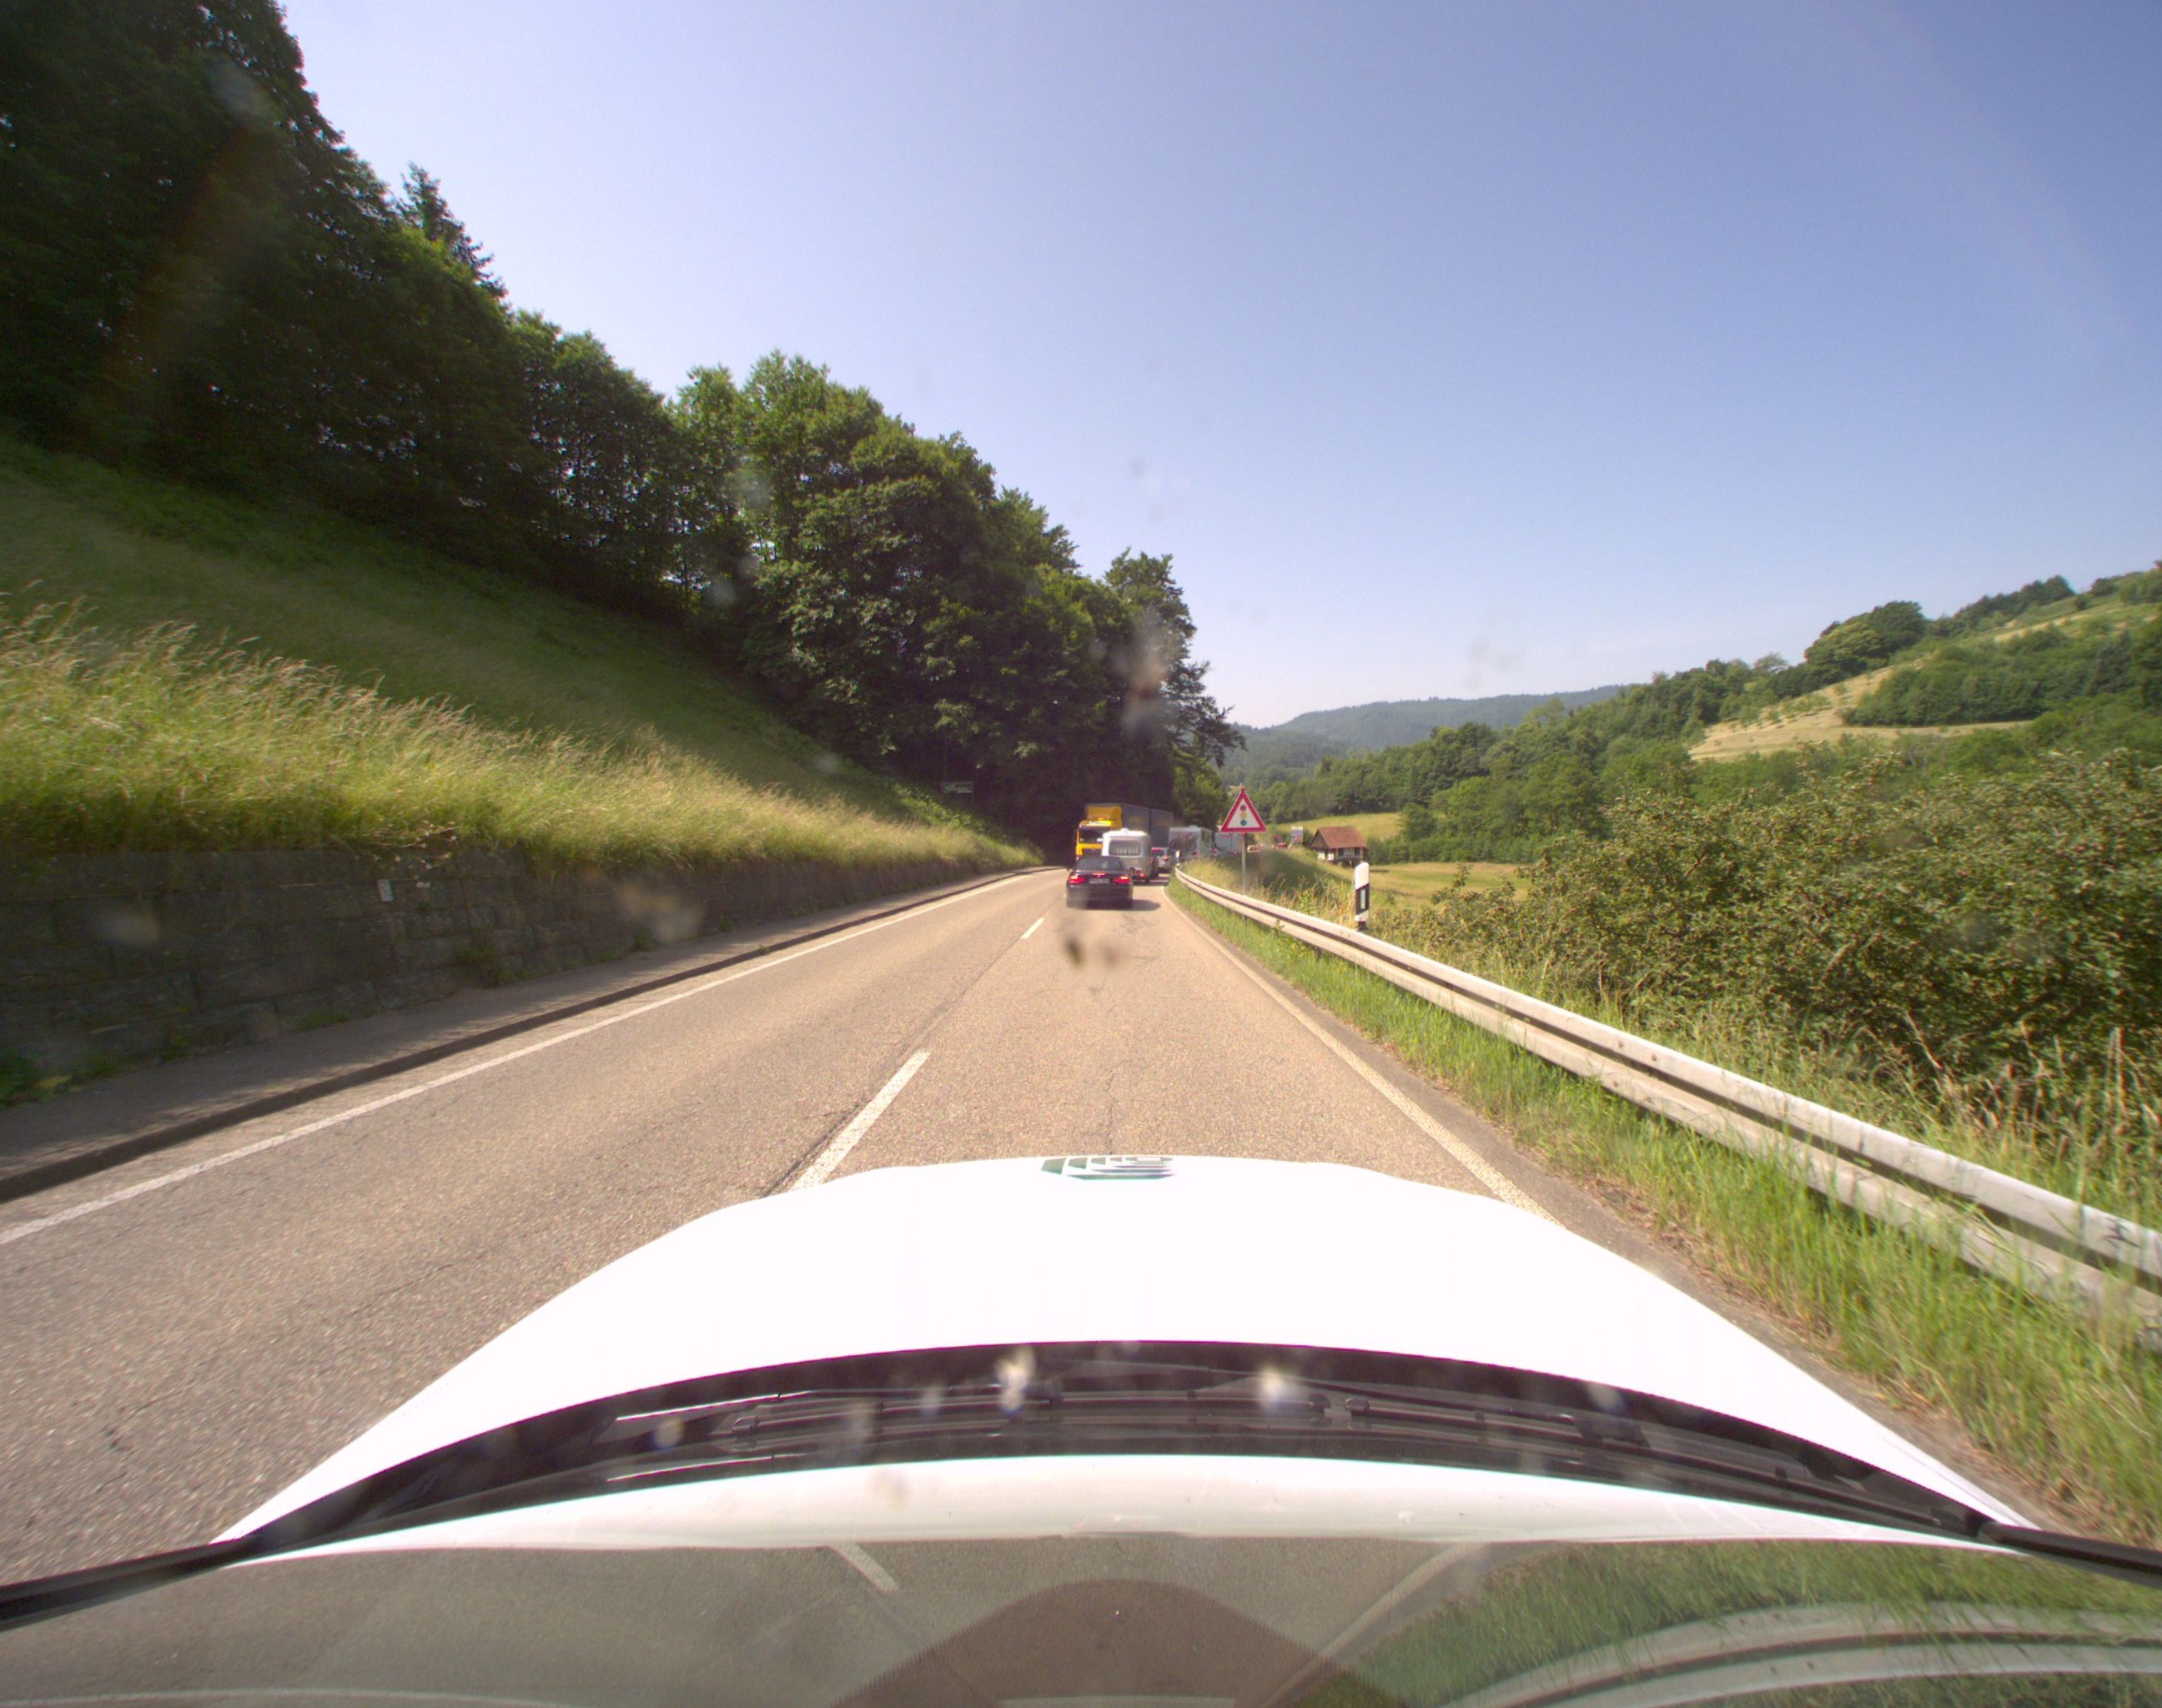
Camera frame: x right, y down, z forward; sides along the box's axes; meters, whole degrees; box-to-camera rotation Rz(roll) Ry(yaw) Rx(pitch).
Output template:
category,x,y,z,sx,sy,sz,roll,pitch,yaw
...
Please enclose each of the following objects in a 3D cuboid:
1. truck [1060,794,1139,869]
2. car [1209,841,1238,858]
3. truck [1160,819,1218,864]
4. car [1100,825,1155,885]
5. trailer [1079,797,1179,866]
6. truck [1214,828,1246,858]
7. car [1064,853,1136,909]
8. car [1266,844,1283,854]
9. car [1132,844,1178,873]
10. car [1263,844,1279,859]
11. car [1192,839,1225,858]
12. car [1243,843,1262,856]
category,x,y,z,sx,sy,sz,roll,pitch,yaw
truck,1.291,-1.423,51.745,3.163,4.396,6.602,2,2,18
car,13.012,-0.444,74.315,1.772,1.463,4.021,3,2,21
truck,7.952,-0.945,59.196,2.768,2.997,6.901,3,2,18
car,2.056,-0.033,34.878,1.983,2.352,4.925,1,2,7
trailer,3.921,-1.587,59.633,3.233,4.417,15.390,1,1,19
truck,14.877,-1.045,80.916,2.219,2.804,6.261,1,0,18
car,0.472,0.666,22.226,1.765,1.335,3.766,1,1,0
car,30.723,-0.810,129.127,1.976,1.575,4.021,1,0,22
car,4.296,0.225,46.888,1.979,1.484,4.015,2,1,14
car,26.130,-0.368,111.736,1.979,1.925,4.016,3,1,14
car,10.768,-0.448,68.541,1.977,1.463,4.020,3,2,19
car,21.694,-0.581,102.747,1.891,1.486,4.019,1,0,19
